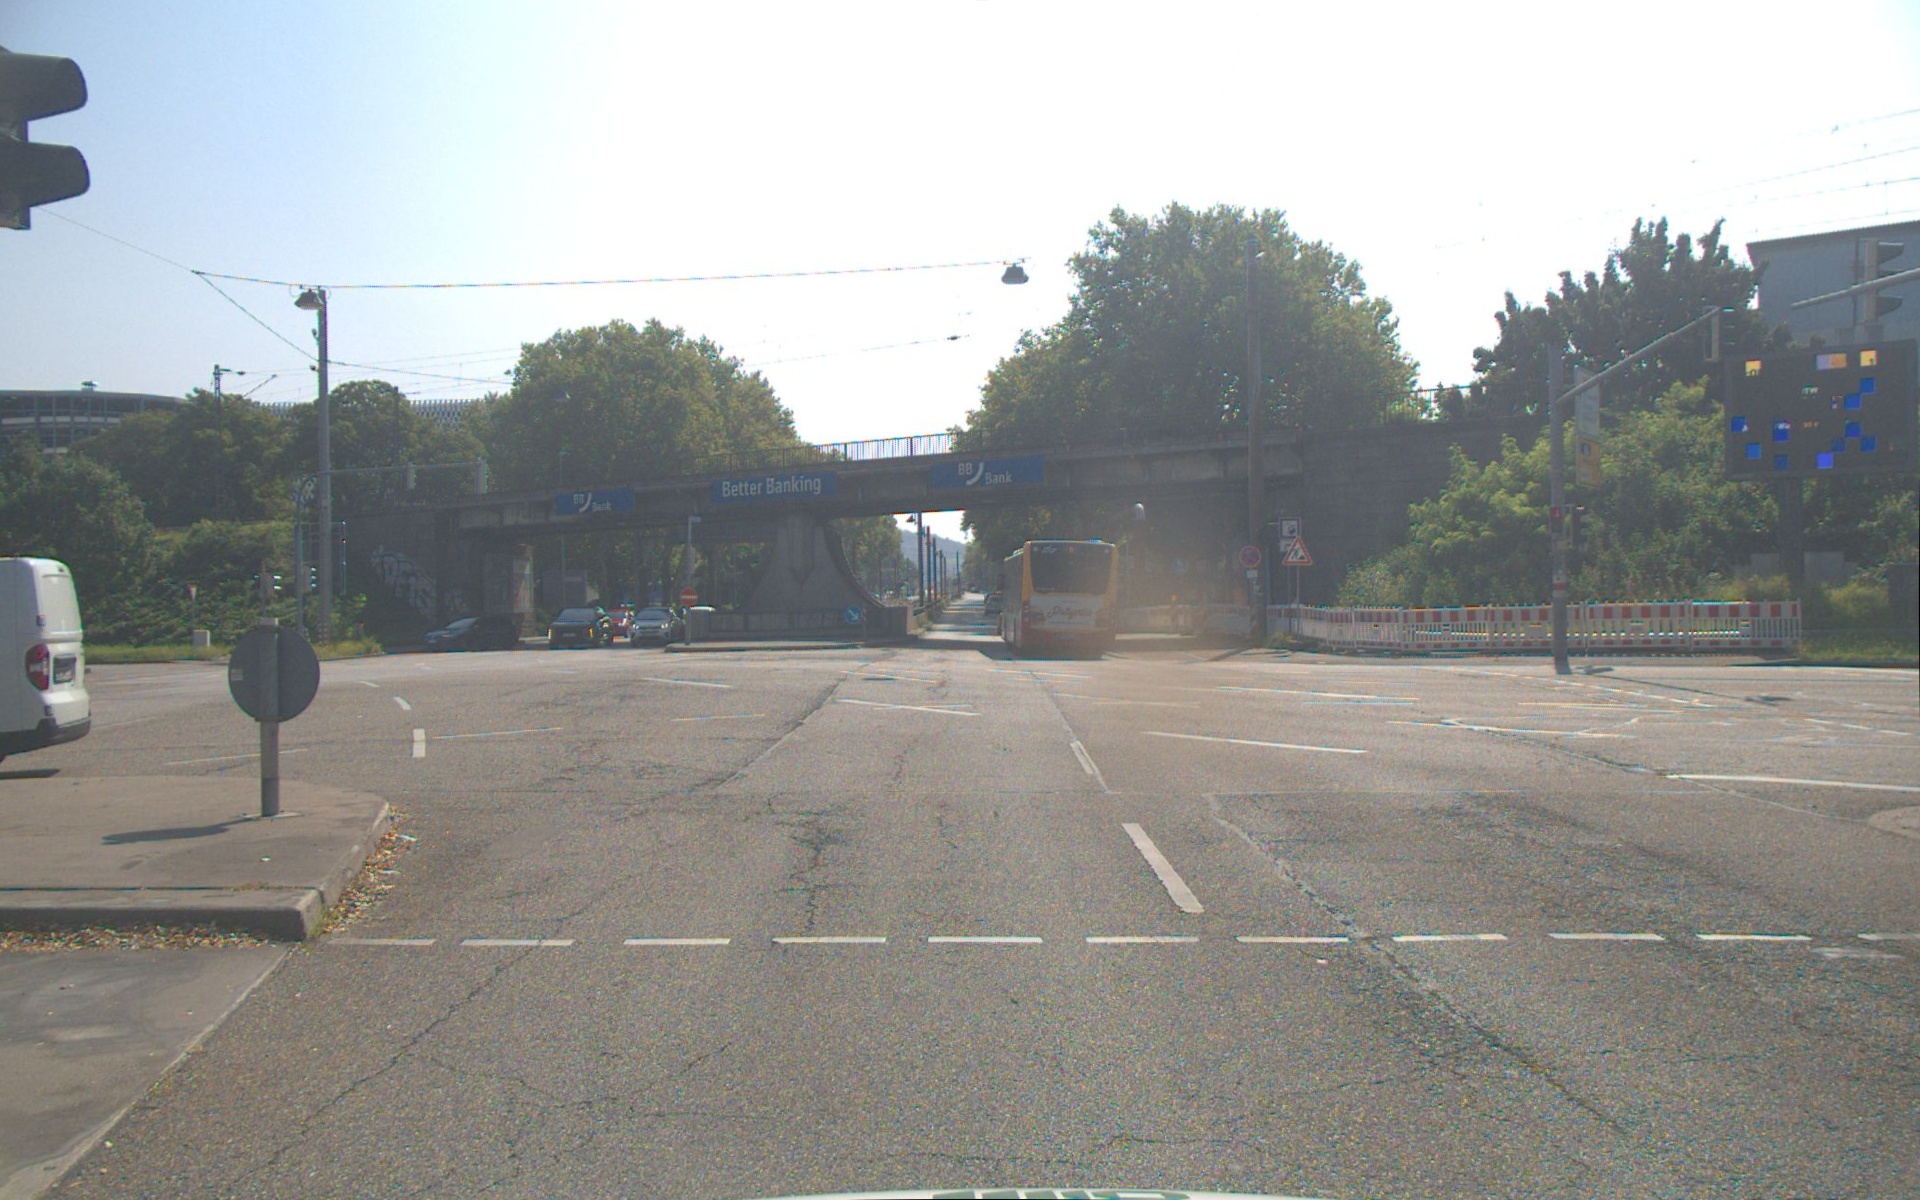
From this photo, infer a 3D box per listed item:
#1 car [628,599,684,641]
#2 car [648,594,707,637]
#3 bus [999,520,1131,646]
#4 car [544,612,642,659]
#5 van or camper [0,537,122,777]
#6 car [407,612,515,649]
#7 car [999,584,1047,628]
[{"bbox_3d":[-11.871,0.759,64.757,1.687,1.565,3.693,-2,0,-3],"label":"car"},{"bbox_3d":[-11.849,0.623,69.517,1.954,1.600,4.345,-1,2,-3],"label":"car"},{"bbox_3d":[2.848,-0.446,48.652,3.070,3.168,12.289,1,0,0],"label":"bus"},{"bbox_3d":[-14.497,1.374,65.623,1.861,1.645,4.478,-3,0,15],"label":"car"},{"bbox_3d":[-10.084,0.569,14.130,4.852,1.981,1.839,-3,0,-16],"label":"van or camper"},{"bbox_3d":[-20.719,1.275,68.814,1.755,1.453,3.975,1,0,42],"label":"car"},{"bbox_3d":[3.024,0.284,79.667,1.954,2.049,3.998,1,0,-3],"label":"car"}]
